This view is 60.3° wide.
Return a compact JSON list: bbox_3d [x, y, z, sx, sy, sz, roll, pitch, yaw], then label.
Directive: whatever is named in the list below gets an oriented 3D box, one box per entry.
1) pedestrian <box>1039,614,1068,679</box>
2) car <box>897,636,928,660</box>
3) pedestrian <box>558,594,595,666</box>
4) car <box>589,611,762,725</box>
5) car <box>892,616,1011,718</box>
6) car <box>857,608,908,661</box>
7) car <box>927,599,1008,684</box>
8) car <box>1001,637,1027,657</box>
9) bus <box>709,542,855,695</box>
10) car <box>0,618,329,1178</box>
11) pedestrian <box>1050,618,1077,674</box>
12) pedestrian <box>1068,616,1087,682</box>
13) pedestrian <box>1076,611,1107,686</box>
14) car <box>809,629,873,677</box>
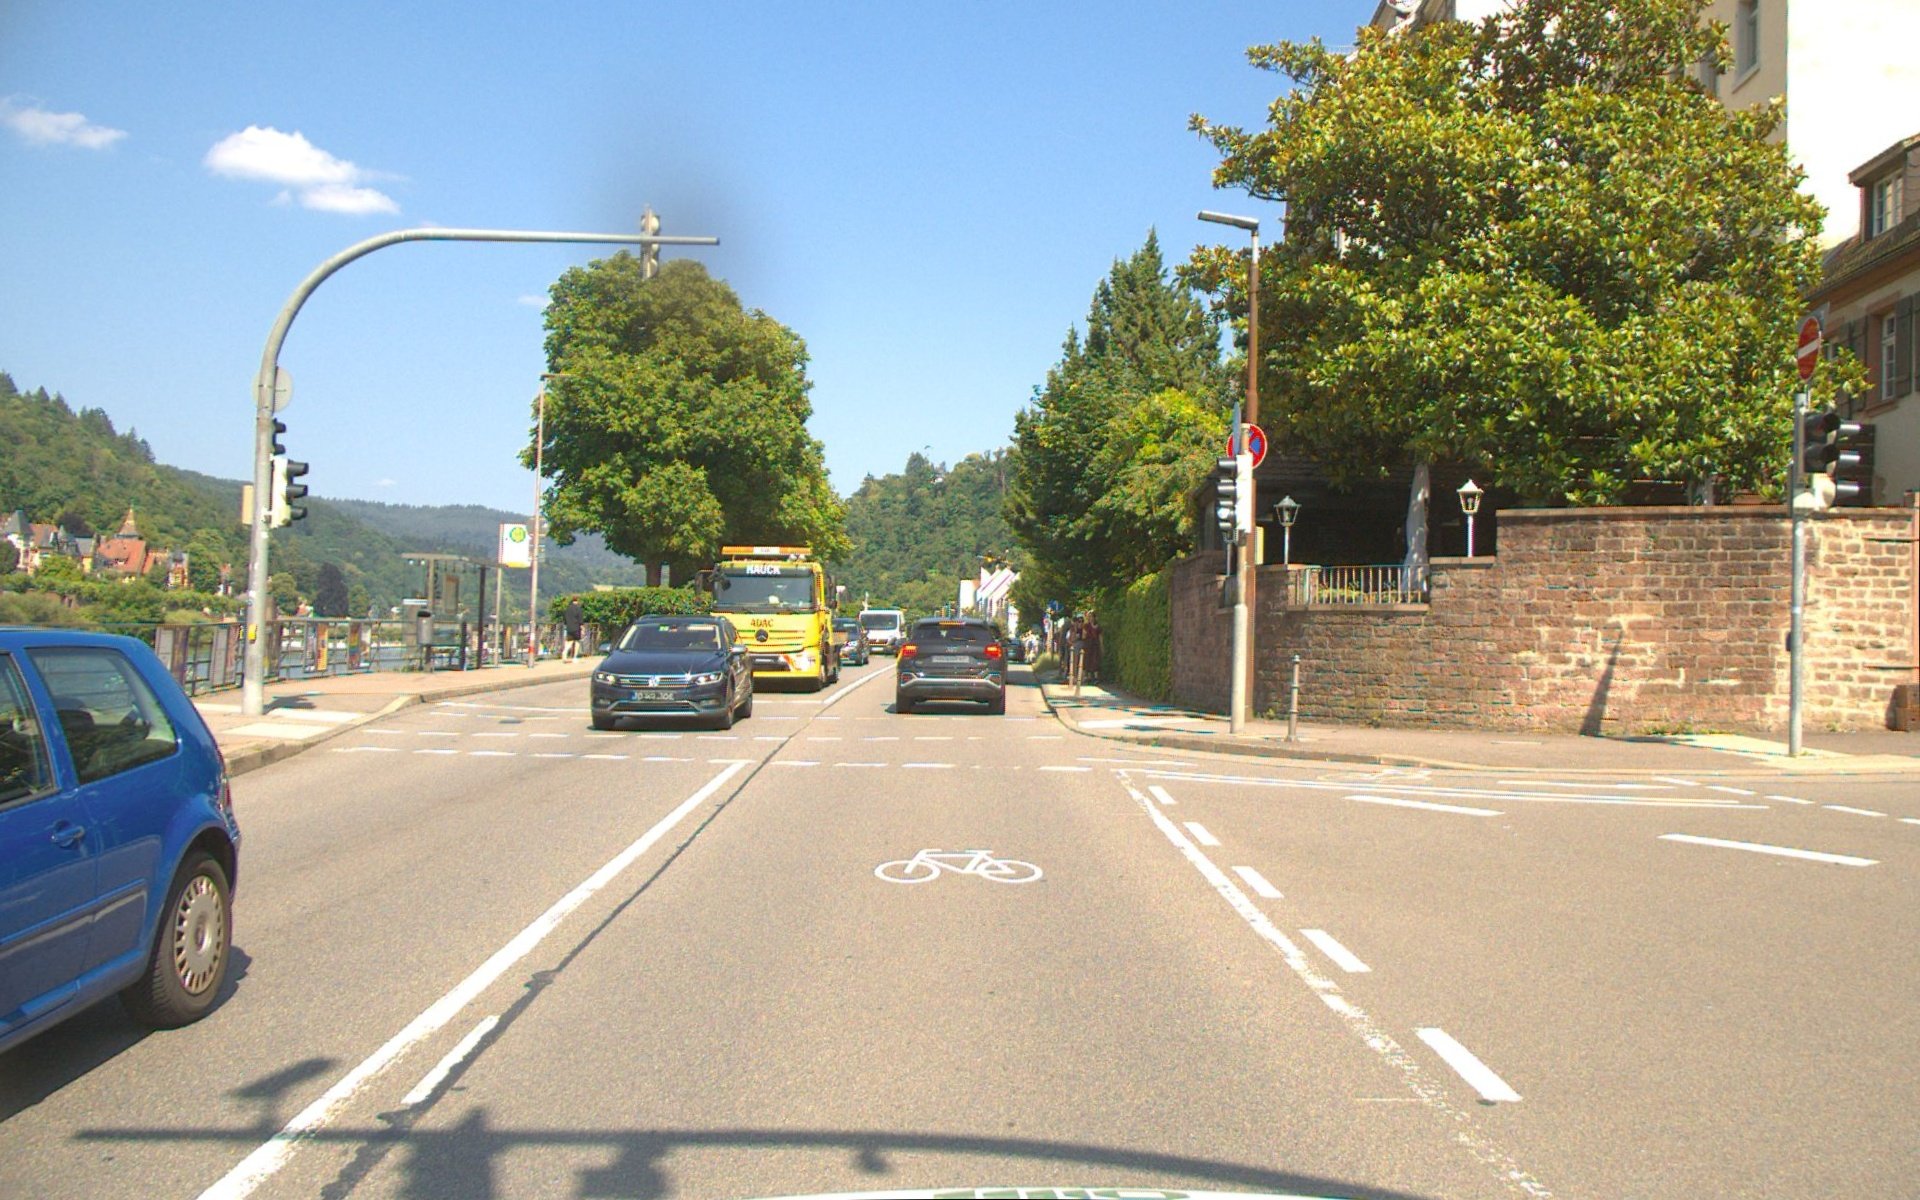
[{"bbox_3d":[2.451,1.207,43.397,0.720,1.662,0.920,0,0,1],"label":"pedestrian"},{"bbox_3d":[-3.101,3.202,109.343,1.860,1.516,3.795,0,-2,1],"label":"car"},{"bbox_3d":[-10.547,0.826,45.485,0.737,1.951,1.009,0,-3,1],"label":"pedestrian"},{"bbox_3d":[-3.860,0.878,23.106,1.772,1.431,4.355,0,0,-2],"label":"car"},{"bbox_3d":[-0.072,1.069,27.480,1.818,1.550,4.000,0,-1,2],"label":"car"},{"bbox_3d":[-3.579,1.561,77.055,2.053,2.342,5.868,0,0,0],"label":"car"},{"bbox_3d":[0.173,1.101,42.424,1.953,2.049,3.999,0,-3,0],"label":"car"},{"bbox_3d":[4.175,3.664,128.198,1.952,1.479,4.008,0,-2,1],"label":"car"},{"bbox_3d":[-3.709,0.372,36.215,2.544,2.947,8.443,0,0,-2],"label":"bus"},{"bbox_3d":[-3.460,0.815,4.834,1.694,1.517,4.323,0,-1,-2],"label":"car"},{"bbox_3d":[3.143,1.392,50.207,0.713,1.679,0.882,-2,-1,1],"label":"pedestrian"},{"bbox_3d":[2.947,1.231,41.595,0.446,1.634,0.579,0,-1,1],"label":"pedestrian"},{"bbox_3d":[3.169,1.172,39.988,0.667,1.773,0.913,0,1,1],"label":"pedestrian"},{"bbox_3d":[-3.914,1.734,54.974,1.778,1.422,4.346,0,0,0],"label":"car"}]
